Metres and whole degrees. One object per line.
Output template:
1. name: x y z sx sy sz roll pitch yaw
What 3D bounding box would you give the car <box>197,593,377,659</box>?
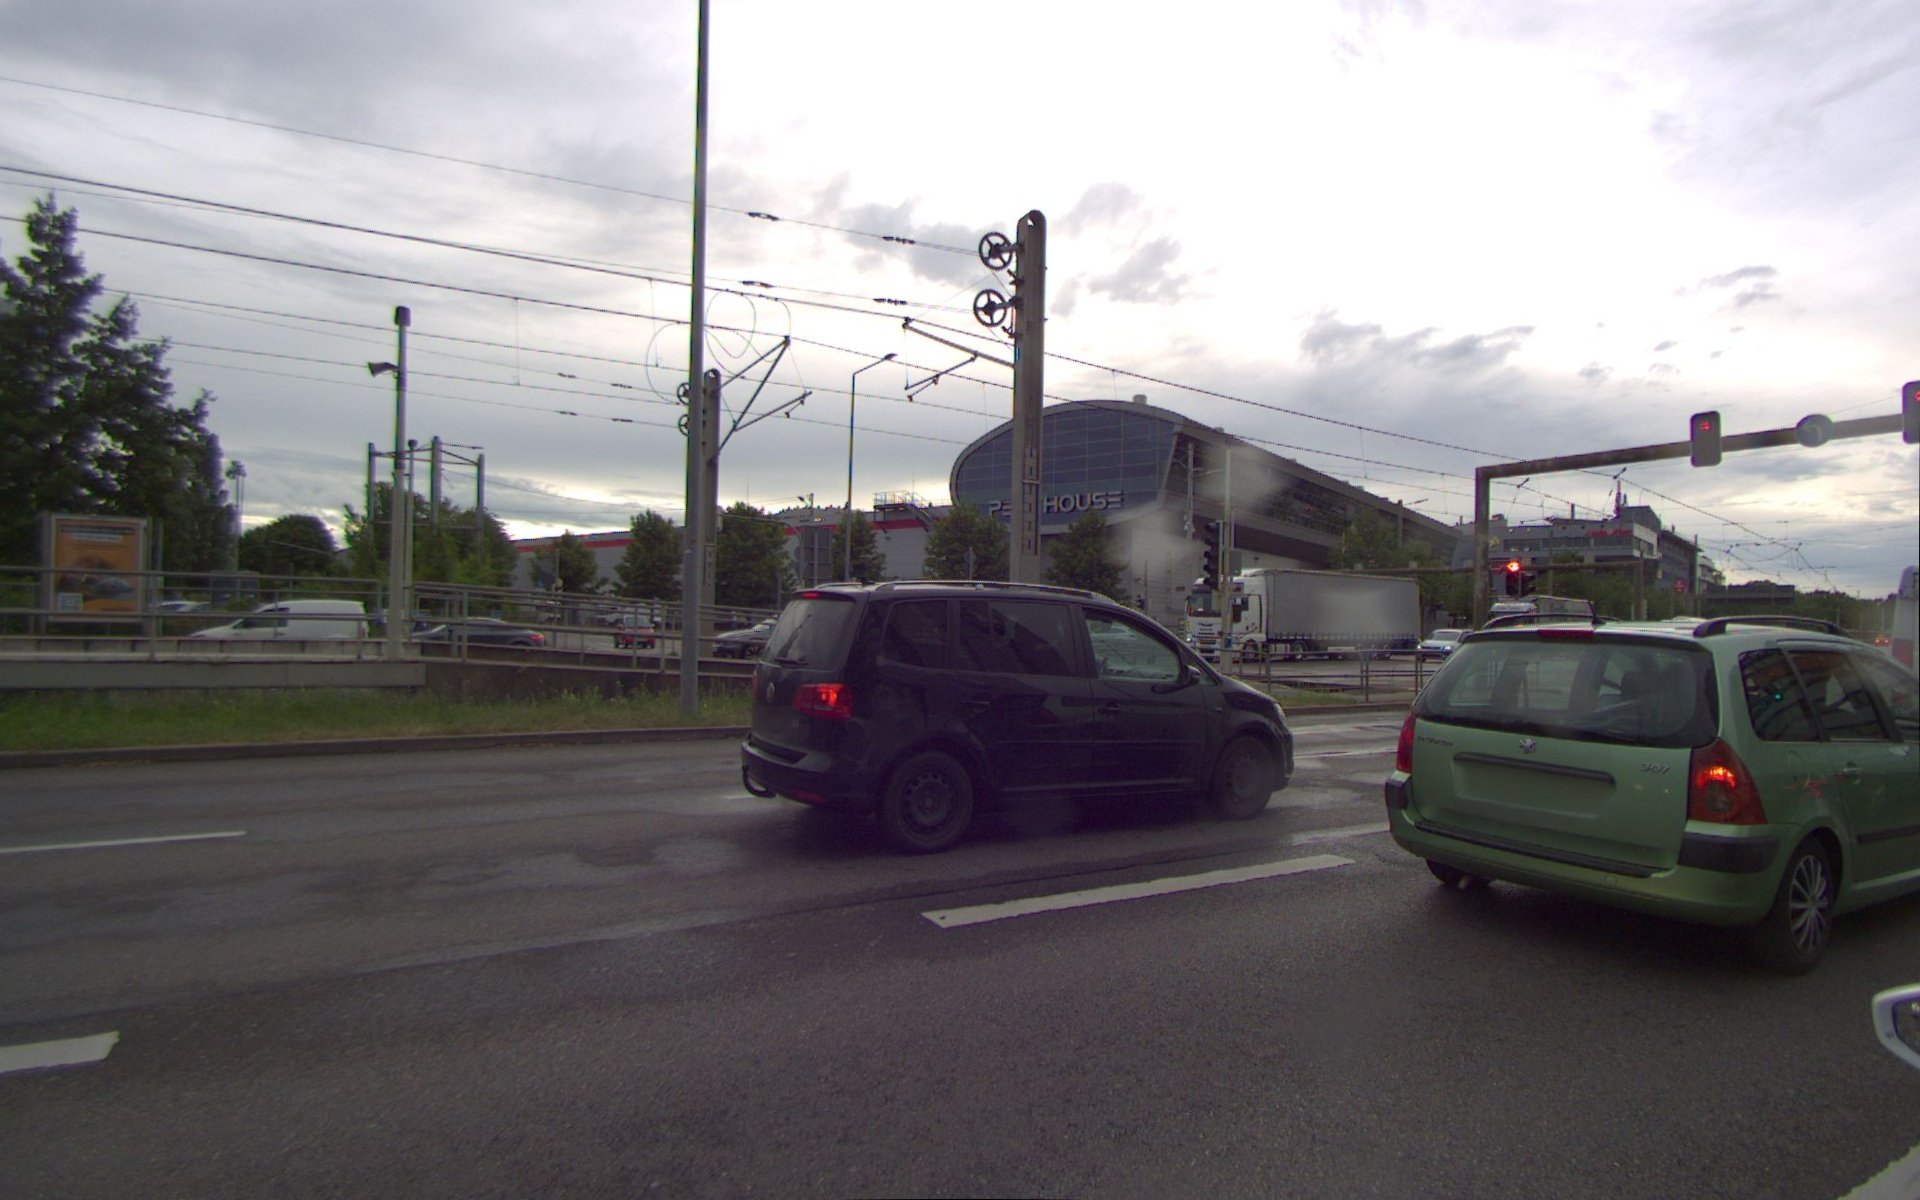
1. car: -18.679 0.729 28.078 4.038 1.648 1.563 3 0 -32

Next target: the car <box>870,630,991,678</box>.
1. car: -1.132 2.116 39.180 4.277 1.650 1.980 3 0 -35

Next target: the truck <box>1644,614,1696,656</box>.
1. truck: 68.533 3.431 96.929 5.367 3.855 2.724 3 -3 -39

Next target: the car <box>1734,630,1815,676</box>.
1. car: 39.481 2.528 48.668 4.301 2.040 1.762 2 1 -34

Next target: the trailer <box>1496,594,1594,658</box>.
1. trailer: 41.719 1.945 71.344 12.658 4.178 2.624 3 -3 -44

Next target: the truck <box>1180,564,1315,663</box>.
1. truck: 12.765 0.644 44.340 5.934 4.049 2.810 2 -1 -38

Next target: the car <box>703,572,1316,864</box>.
1. car: 0.440 0.705 7.305 4.142 1.613 1.719 2 0 -29

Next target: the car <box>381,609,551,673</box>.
1. car: -13.460 1.129 27.420 3.956 1.522 1.777 3 0 -32

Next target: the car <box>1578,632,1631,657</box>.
1. car: 44.390 3.077 69.138 4.533 1.576 1.885 3 0 -42

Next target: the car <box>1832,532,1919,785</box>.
1. car: 11.125 0.663 10.203 4.860 2.324 2.427 3 0 -37

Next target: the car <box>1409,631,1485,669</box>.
1. car: 23.799 2.428 49.012 4.065 1.674 1.870 3 0 -41

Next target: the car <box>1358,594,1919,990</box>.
1. car: 4.429 0.834 5.705 4.353 1.488 1.686 3 0 -31

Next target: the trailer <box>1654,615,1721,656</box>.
1. trailer: 73.029 3.643 100.655 11.135 3.905 2.703 3 -3 -39

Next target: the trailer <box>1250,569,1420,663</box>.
1. trailer: 18.652 0.855 49.332 11.353 4.161 2.770 2 -2 -41

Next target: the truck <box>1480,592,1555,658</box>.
1. truck: 37.331 1.732 67.185 6.143 4.184 2.641 3 -2 -43

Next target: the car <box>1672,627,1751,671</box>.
1. car: 37.814 2.450 50.520 4.301 2.040 1.762 2 1 -34

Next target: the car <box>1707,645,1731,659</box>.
1. car: 84.417 5.787 111.687 2.132 1.525 4.284 0 -2 38

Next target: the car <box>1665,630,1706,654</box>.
1. car: 63.685 3.646 88.129 4.874 1.862 1.974 0 2 -44
